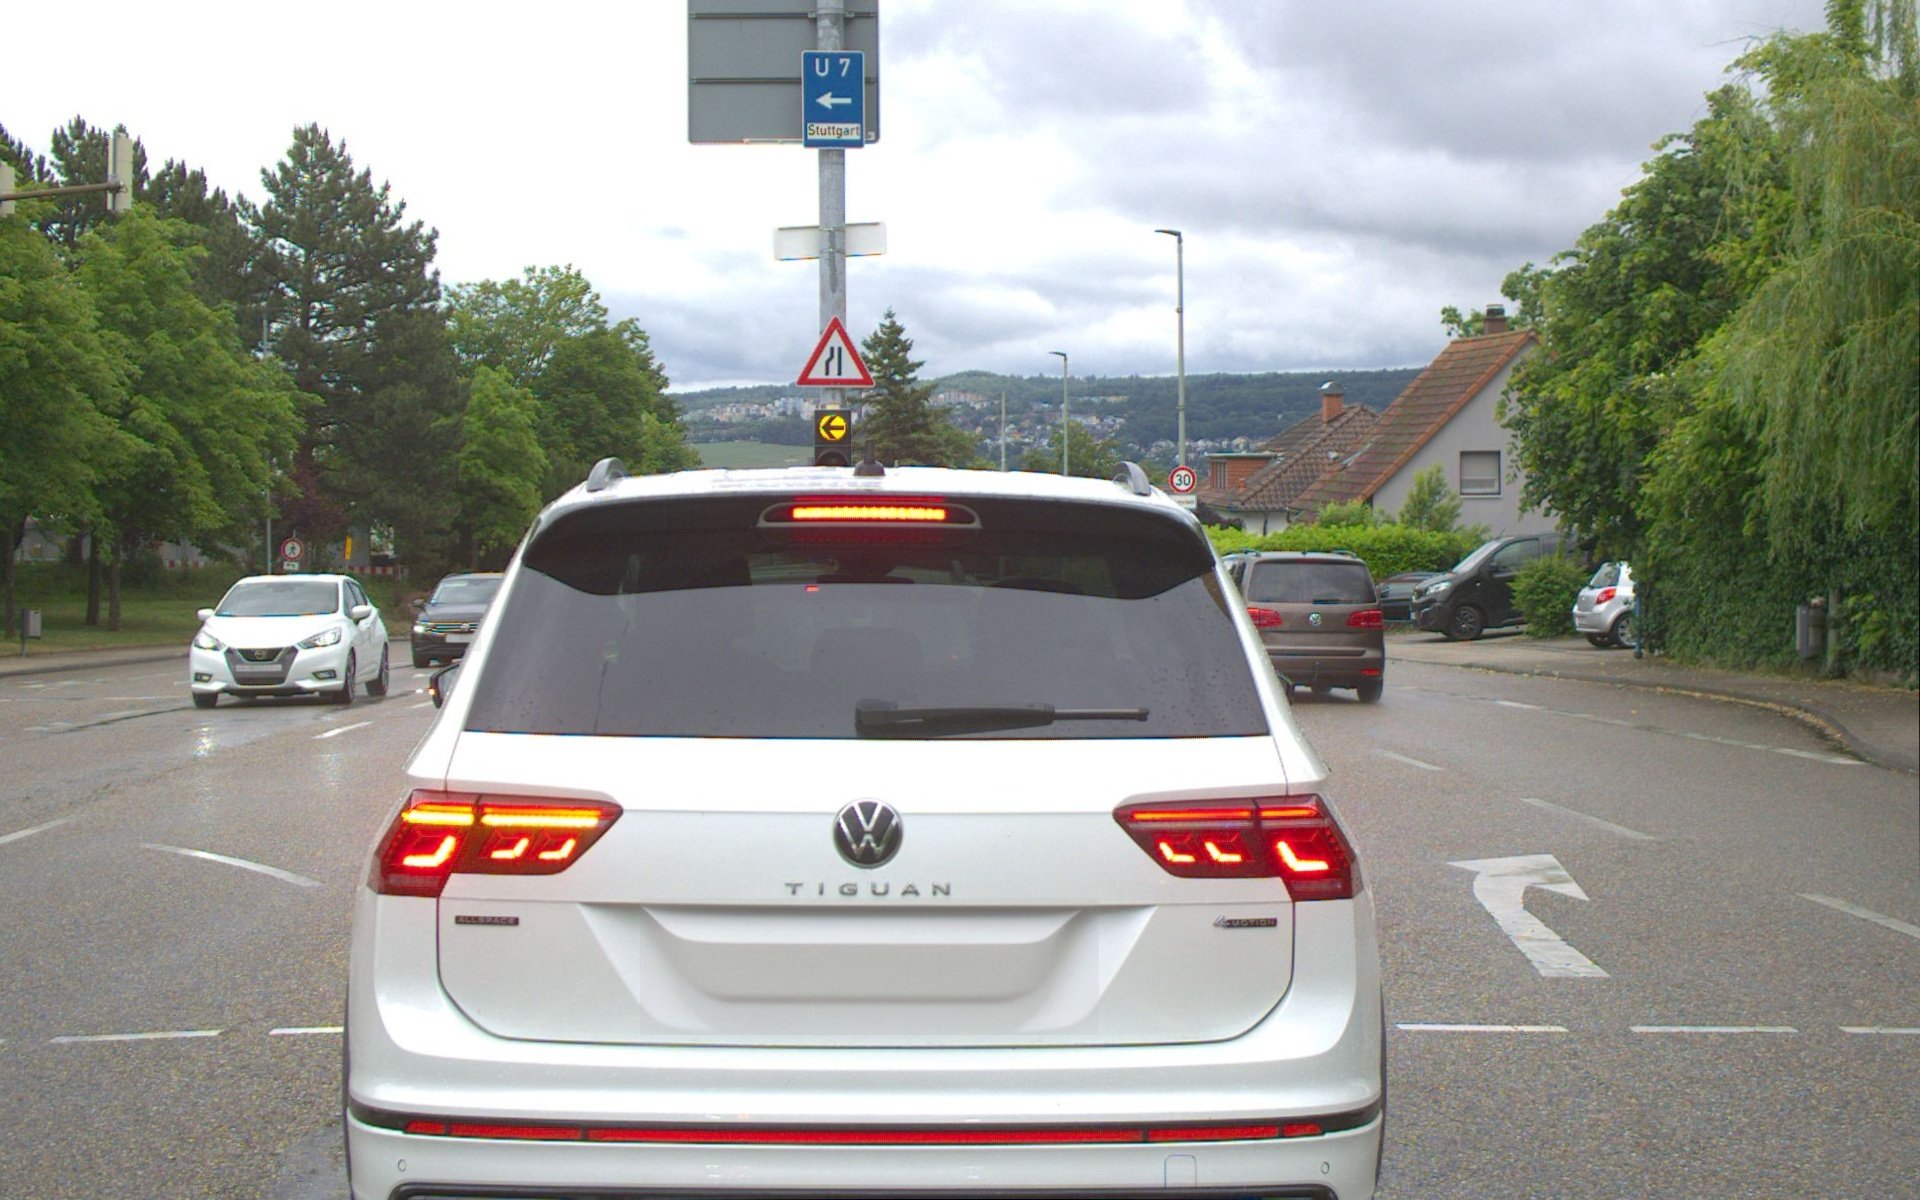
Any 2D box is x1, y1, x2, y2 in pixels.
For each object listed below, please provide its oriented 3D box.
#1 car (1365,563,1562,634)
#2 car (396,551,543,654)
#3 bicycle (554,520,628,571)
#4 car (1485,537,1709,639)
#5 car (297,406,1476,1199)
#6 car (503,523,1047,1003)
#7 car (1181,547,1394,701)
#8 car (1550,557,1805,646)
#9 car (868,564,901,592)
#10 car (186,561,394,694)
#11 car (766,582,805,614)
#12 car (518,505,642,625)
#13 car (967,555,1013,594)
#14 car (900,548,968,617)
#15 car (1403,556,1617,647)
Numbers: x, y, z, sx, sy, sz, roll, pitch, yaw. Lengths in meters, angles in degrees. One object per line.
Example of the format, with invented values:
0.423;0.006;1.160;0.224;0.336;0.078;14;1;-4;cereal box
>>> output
10.122;-0.025;69.243;3.687;1.365;1.519;1;-1;-2;car
-7.788;0.002;54.900;1.775;1.497;4.472;-2;1;-2;car
-8.536;-1.271;79.535;1.636;1.122;0.468;-2;2;-2;bicycle
11.458;-0.230;61.959;3.627;1.740;1.708;0;3;-4;car
-0.172;0.542;7.392;1.763;1.690;4.273;2;1;-1;car
-0.625;0.513;13.440;1.798;1.584;3.926;1;1;0;car
3.539;0.217;37.851;1.735;1.569;4.069;1;1;-3;car
11.748;0.022;56.430;3.713;1.390;1.729;-1;0;-7;car
-4.373;-1.315;200.240;1.850;1.569;4.000;-1;1;0;car
-7.519;0.274;38.882;1.746;1.392;3.802;0;1;-2;car
-9.876;-0.114;194.864;1.993;1.722;4.000;2;0;-1;car
-8.391;-0.806;76.432;2.297;2.519;5.774;-1;1;-2;car
1.251;-1.090;145.785;1.850;1.569;4.000;-1;1;0;car
-0.703;-0.485;90.643;1.712;1.752;3.802;0;1;-2;car
10.267;0.019;64.338;3.627;1.620;1.792;0;2;-4;car
